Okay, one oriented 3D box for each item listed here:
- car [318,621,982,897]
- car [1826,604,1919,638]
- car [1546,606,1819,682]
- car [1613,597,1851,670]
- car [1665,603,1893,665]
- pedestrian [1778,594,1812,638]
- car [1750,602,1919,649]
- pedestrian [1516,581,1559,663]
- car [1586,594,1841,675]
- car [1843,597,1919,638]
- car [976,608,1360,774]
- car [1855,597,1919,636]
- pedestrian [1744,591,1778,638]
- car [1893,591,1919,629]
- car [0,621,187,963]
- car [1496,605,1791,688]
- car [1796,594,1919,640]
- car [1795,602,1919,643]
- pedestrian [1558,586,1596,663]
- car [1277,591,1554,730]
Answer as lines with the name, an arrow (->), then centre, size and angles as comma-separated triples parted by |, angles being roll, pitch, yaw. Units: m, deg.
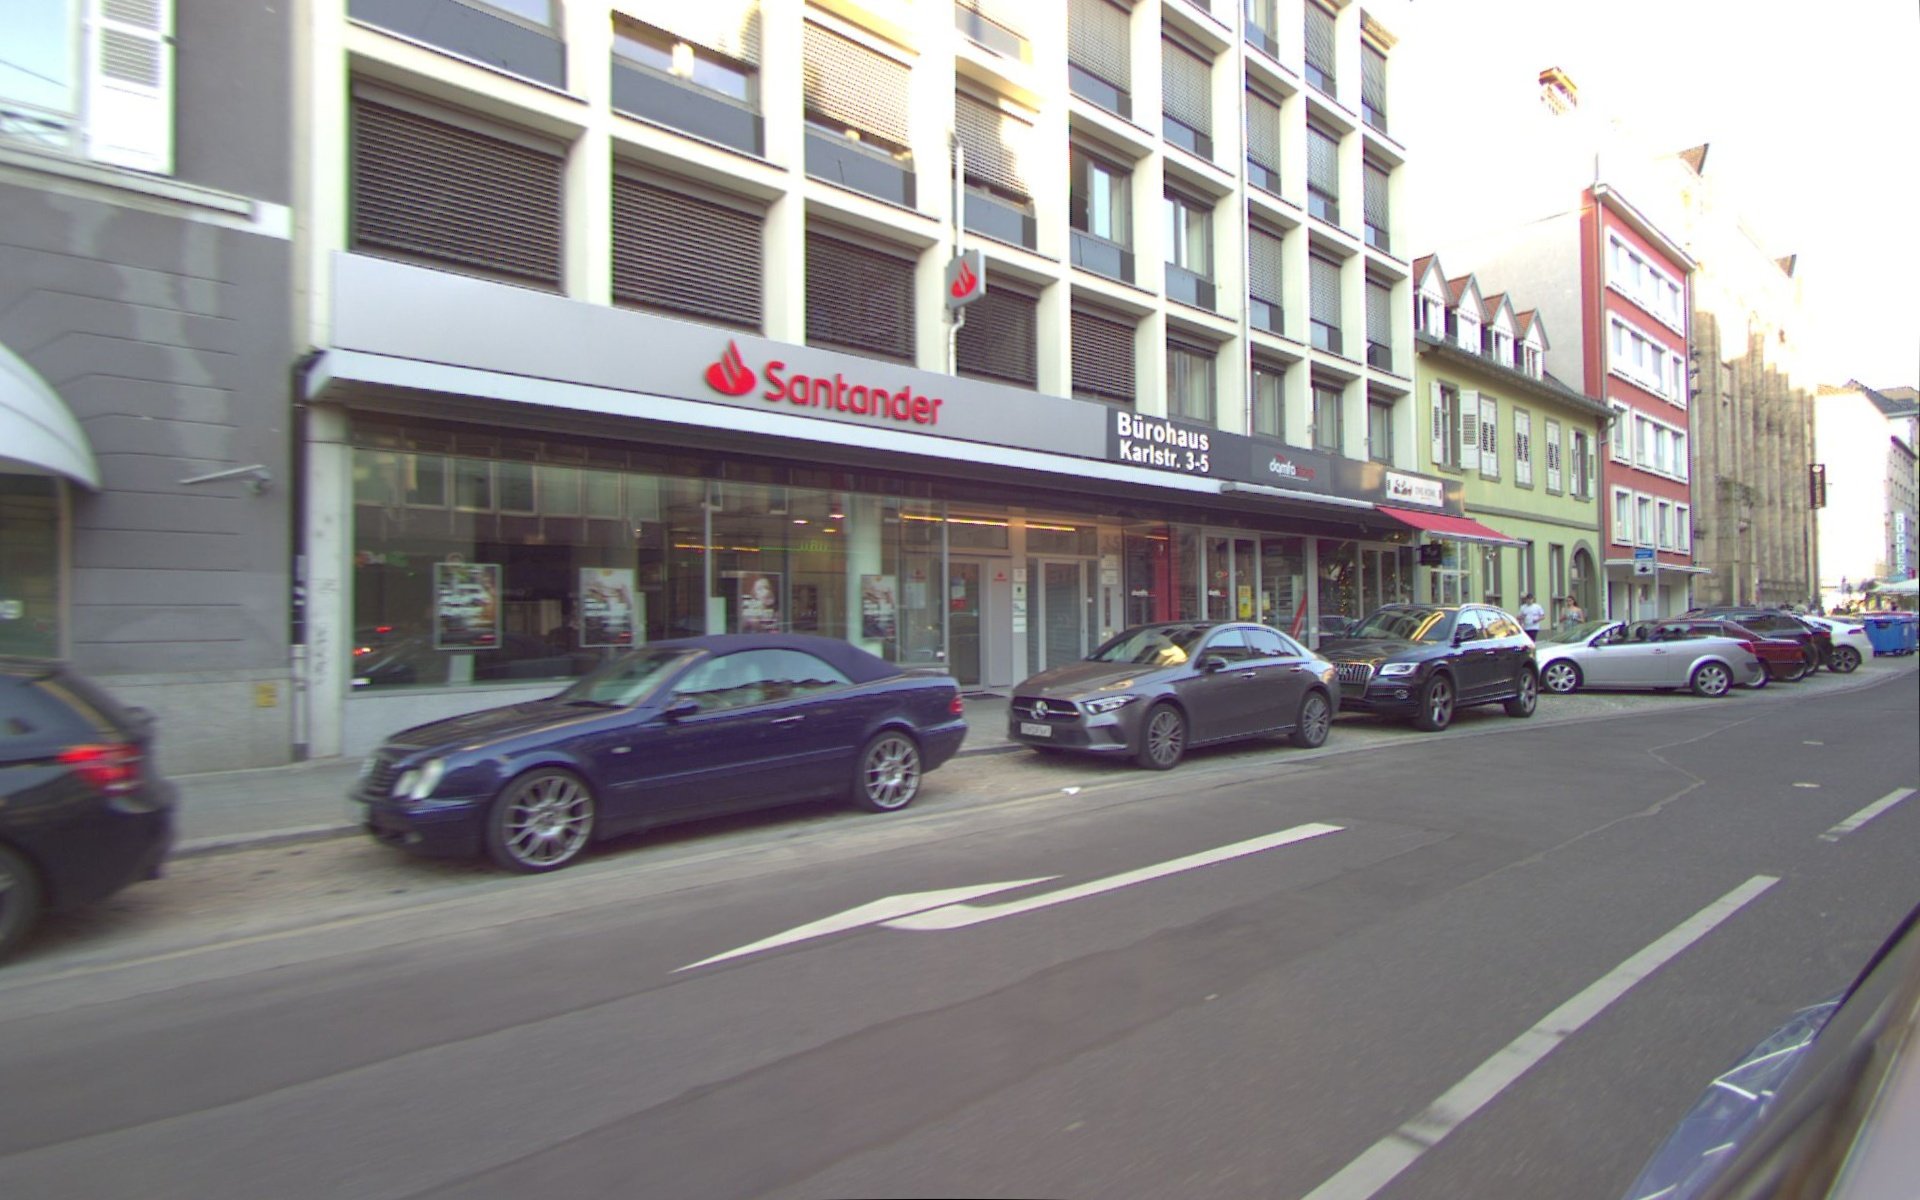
car -> -2.039, 0.887, 7.533 | 4.424, 1.405, 1.744 | 0, -1, -42
car -> 39.054, 0.881, 42.423 | 3.796, 1.365, 1.723 | -2, -2, 25
car -> 14.695, 0.869, 20.854 | 4.168, 1.458, 1.745 | -1, -1, 16
car -> 18.478, 0.790, 24.469 | 4.175, 1.637, 1.742 | -1, -1, 20
car -> 20.950, 0.858, 26.108 | 4.175, 1.492, 1.742 | -1, -1, 20
pedestrian -> 34.986, 0.679, 42.415 | 0.993, 1.823, 0.850 | 0, -1, -36
car -> 29.452, 0.856, 34.010 | 4.175, 1.492, 1.742 | -1, -1, 20
pedestrian -> 15.035, 0.563, 26.352 | 0.707, 2.094, 0.762 | 1, -2, -42
car -> 16.738, 0.764, 22.718 | 4.168, 1.698, 1.745 | -1, -1, 16
car -> 41.493, 0.757, 44.363 | 3.796, 1.747, 1.739 | -2, -2, 25
car -> 2.439, 0.838, 11.200 | 4.477, 1.465, 1.746 | 0, -1, -40
car -> 43.852, 0.750, 46.393 | 3.796, 1.747, 1.739 | -2, -2, 25
pedestrian -> 34.215, 0.601, 43.216 | 0.993, 1.969, 0.850 | 0, -1, -36
car -> 50.293, 0.502, 51.169 | 4.183, 1.906, 1.739 | -1, -1, 25
car -> -5.813, 0.850, 4.105 | 4.175, 1.465, 1.745 | 0, -1, -41
car -> 12.592, 0.847, 18.909 | 4.157, 1.458, 1.750 | -1, -1, 8
car -> 36.330, 0.691, 40.700 | 3.797, 1.775, 1.739 | -1, -1, 25
car -> 34.723, 0.857, 38.500 | 4.183, 1.492, 1.739 | -1, -1, 25
pedestrian -> 15.603, 0.615, 25.578 | 0.707, 1.911, 0.611 | 1, -2, -42
car -> 6.524, 0.742, 14.299 | 4.284, 1.680, 1.831 | 0, -1, -39
